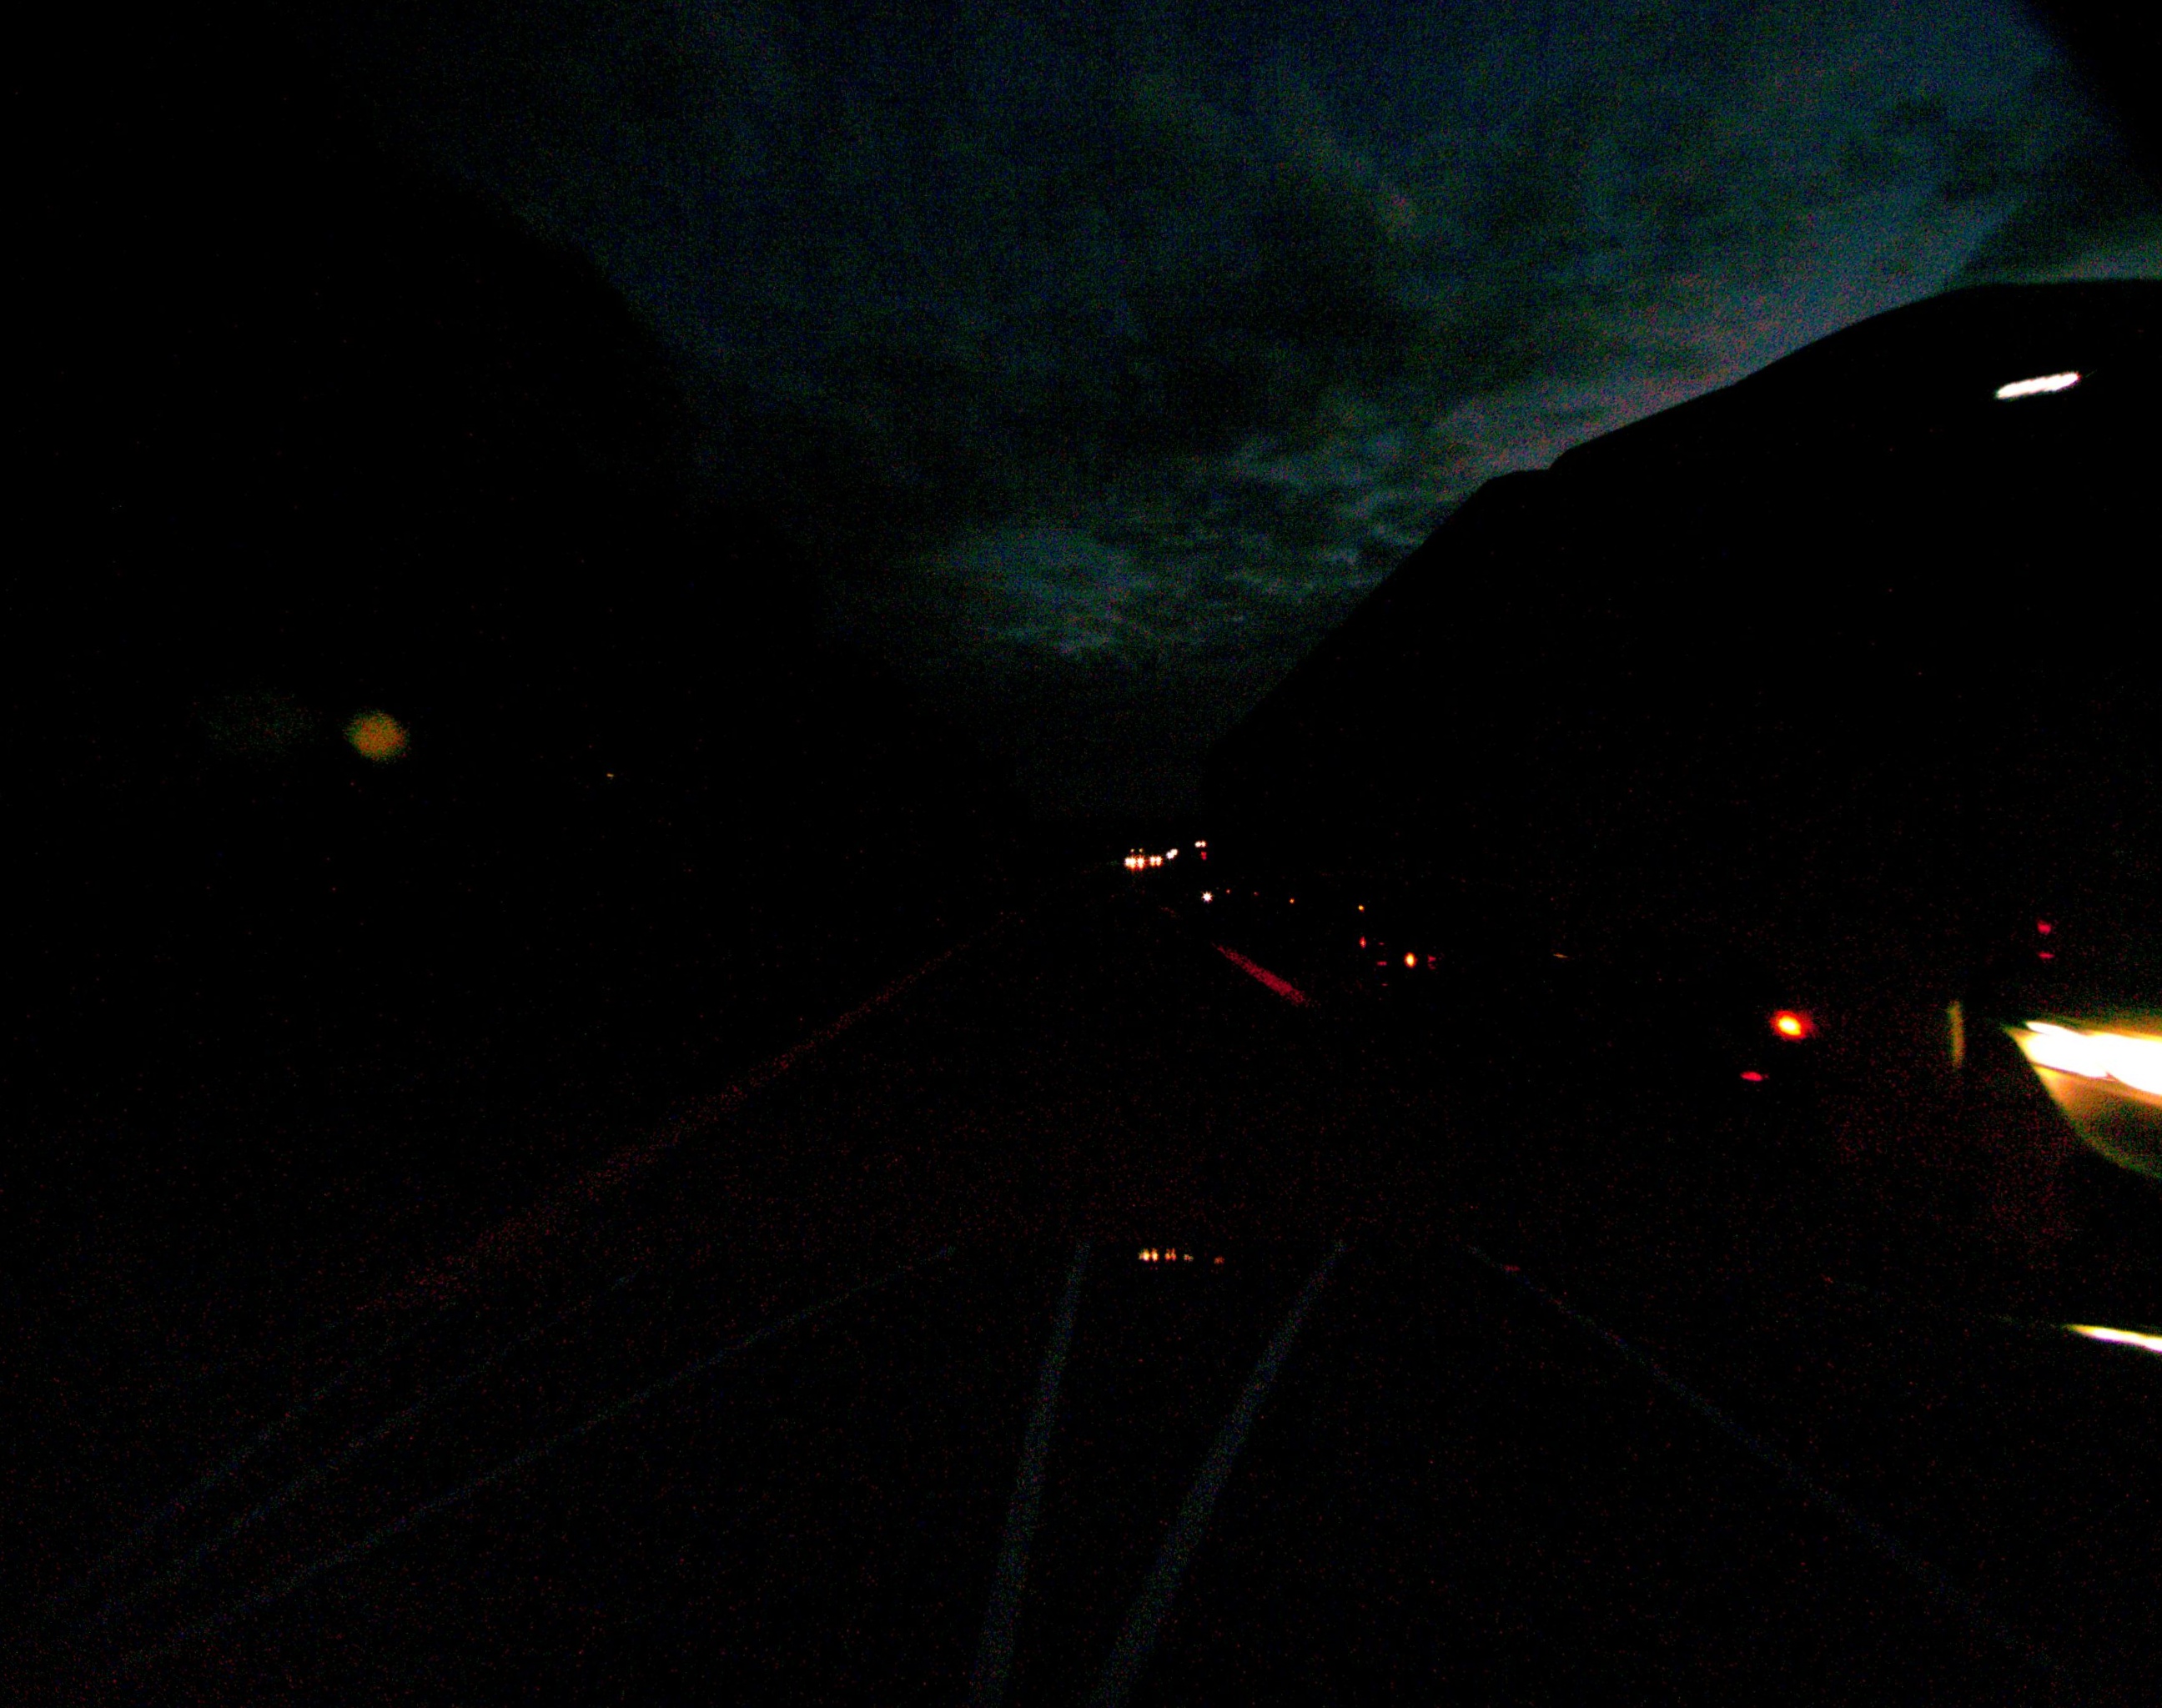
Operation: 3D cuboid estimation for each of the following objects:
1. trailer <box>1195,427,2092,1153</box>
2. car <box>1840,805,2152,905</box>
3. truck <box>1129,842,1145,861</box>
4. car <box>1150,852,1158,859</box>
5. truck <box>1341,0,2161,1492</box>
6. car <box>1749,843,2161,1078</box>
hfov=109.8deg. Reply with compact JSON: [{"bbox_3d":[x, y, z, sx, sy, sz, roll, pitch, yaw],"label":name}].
[{"bbox_3d":[4.187,-0.327,11.562,2.781,3.892,14.819,-2,0,1],"label":"trailer"},{"bbox_3d":[21.071,0.021,17.881,1.998,2.002,4.489,-2,0,2],"label":"car"},{"bbox_3d":[13.398,-0.545,182.635,3.352,4.293,11.327,-1,0,3],"label":"truck"},{"bbox_3d":[19.688,0.409,204.250,1.998,2.002,4.000,-1,0,3],"label":"car"},{"bbox_3d":[4.118,-0.349,4.843,2.786,3.879,6.154,-2,0,0],"label":"truck"},{"bbox_3d":[8.049,0.688,5.732,1.998,1.489,4.548,-2,0,0],"label":"car"}]
